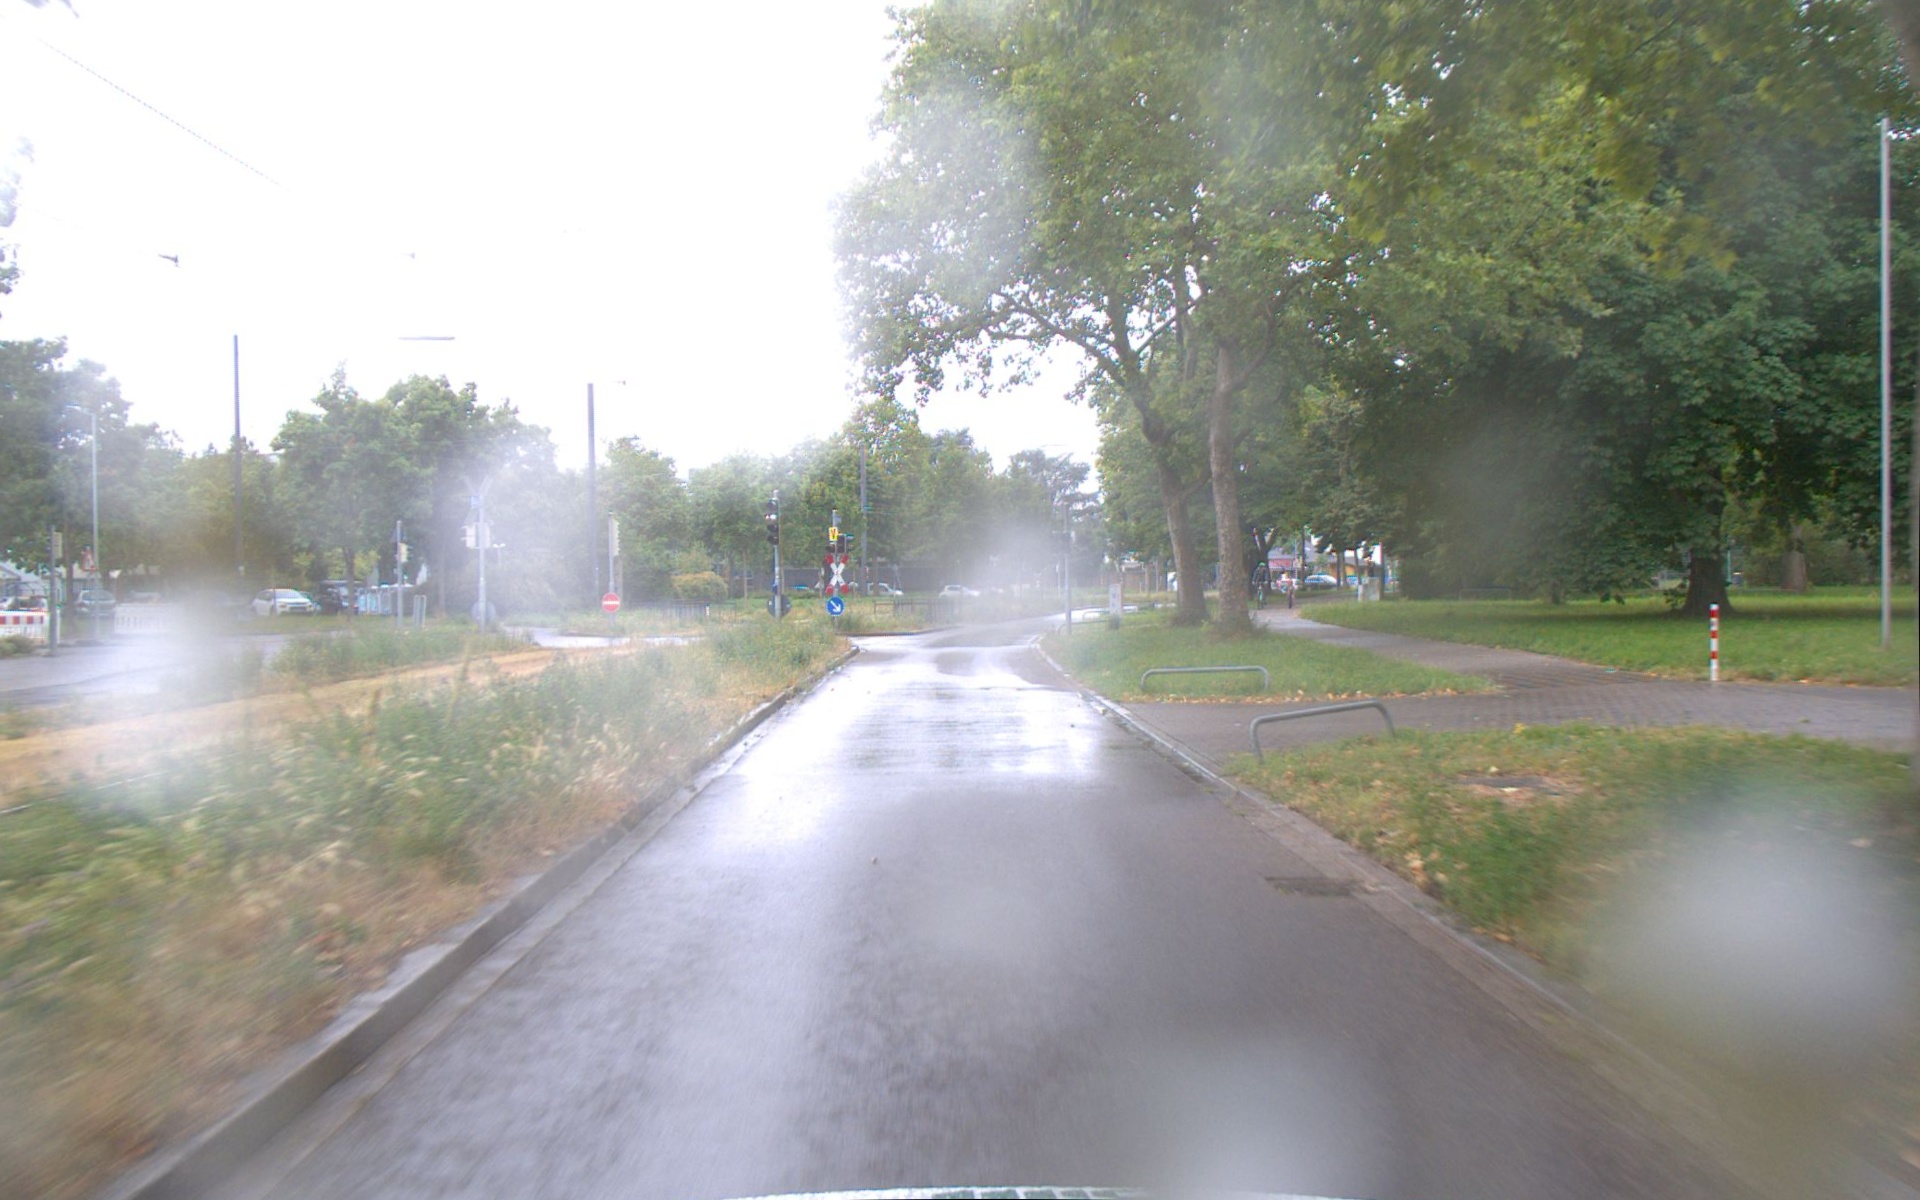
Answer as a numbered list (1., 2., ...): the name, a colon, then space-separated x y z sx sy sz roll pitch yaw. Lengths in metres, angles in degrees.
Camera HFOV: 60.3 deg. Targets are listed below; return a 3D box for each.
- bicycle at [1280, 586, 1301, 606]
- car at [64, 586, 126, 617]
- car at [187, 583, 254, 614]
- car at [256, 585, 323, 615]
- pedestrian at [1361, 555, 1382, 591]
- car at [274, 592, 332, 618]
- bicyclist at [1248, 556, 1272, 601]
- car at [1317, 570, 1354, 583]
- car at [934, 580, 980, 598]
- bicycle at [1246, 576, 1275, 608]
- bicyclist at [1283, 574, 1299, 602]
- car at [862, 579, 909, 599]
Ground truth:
1. bicycle: 12.769 -0.163 63.880 0.477 0.721 1.457 -1 2 23
2. car: -36.902 0.078 70.506 1.650 1.271 3.689 -2 1 -39
3. car: -32.574 -0.067 72.811 1.652 1.271 3.685 -2 1 -42
4. car: -30.533 -0.004 75.259 1.652 1.271 3.685 -2 1 -42
5. pedestrian: 20.172 -1.310 81.127 0.834 1.724 1.036 -1 0 5
6. car: -34.569 0.265 87.013 1.652 1.271 3.685 -2 1 -42
7. bicyclist: 11.679 -0.839 64.367 0.697 1.751 0.957 -1 2 23
8. car: 42.630 -2.669 187.812 3.681 1.467 1.759 -1 0 31
9. car: -0.239 -1.038 154.870 3.979 1.525 1.653 -1 0 16
10. bicycle: 11.692 -0.326 64.368 0.697 1.162 1.972 -1 2 23
11. bicyclist: 12.767 -0.452 63.835 0.477 1.056 0.591 -1 2 23
12. car: -7.032 -1.071 157.052 4.121 1.827 1.653 -1 2 18
